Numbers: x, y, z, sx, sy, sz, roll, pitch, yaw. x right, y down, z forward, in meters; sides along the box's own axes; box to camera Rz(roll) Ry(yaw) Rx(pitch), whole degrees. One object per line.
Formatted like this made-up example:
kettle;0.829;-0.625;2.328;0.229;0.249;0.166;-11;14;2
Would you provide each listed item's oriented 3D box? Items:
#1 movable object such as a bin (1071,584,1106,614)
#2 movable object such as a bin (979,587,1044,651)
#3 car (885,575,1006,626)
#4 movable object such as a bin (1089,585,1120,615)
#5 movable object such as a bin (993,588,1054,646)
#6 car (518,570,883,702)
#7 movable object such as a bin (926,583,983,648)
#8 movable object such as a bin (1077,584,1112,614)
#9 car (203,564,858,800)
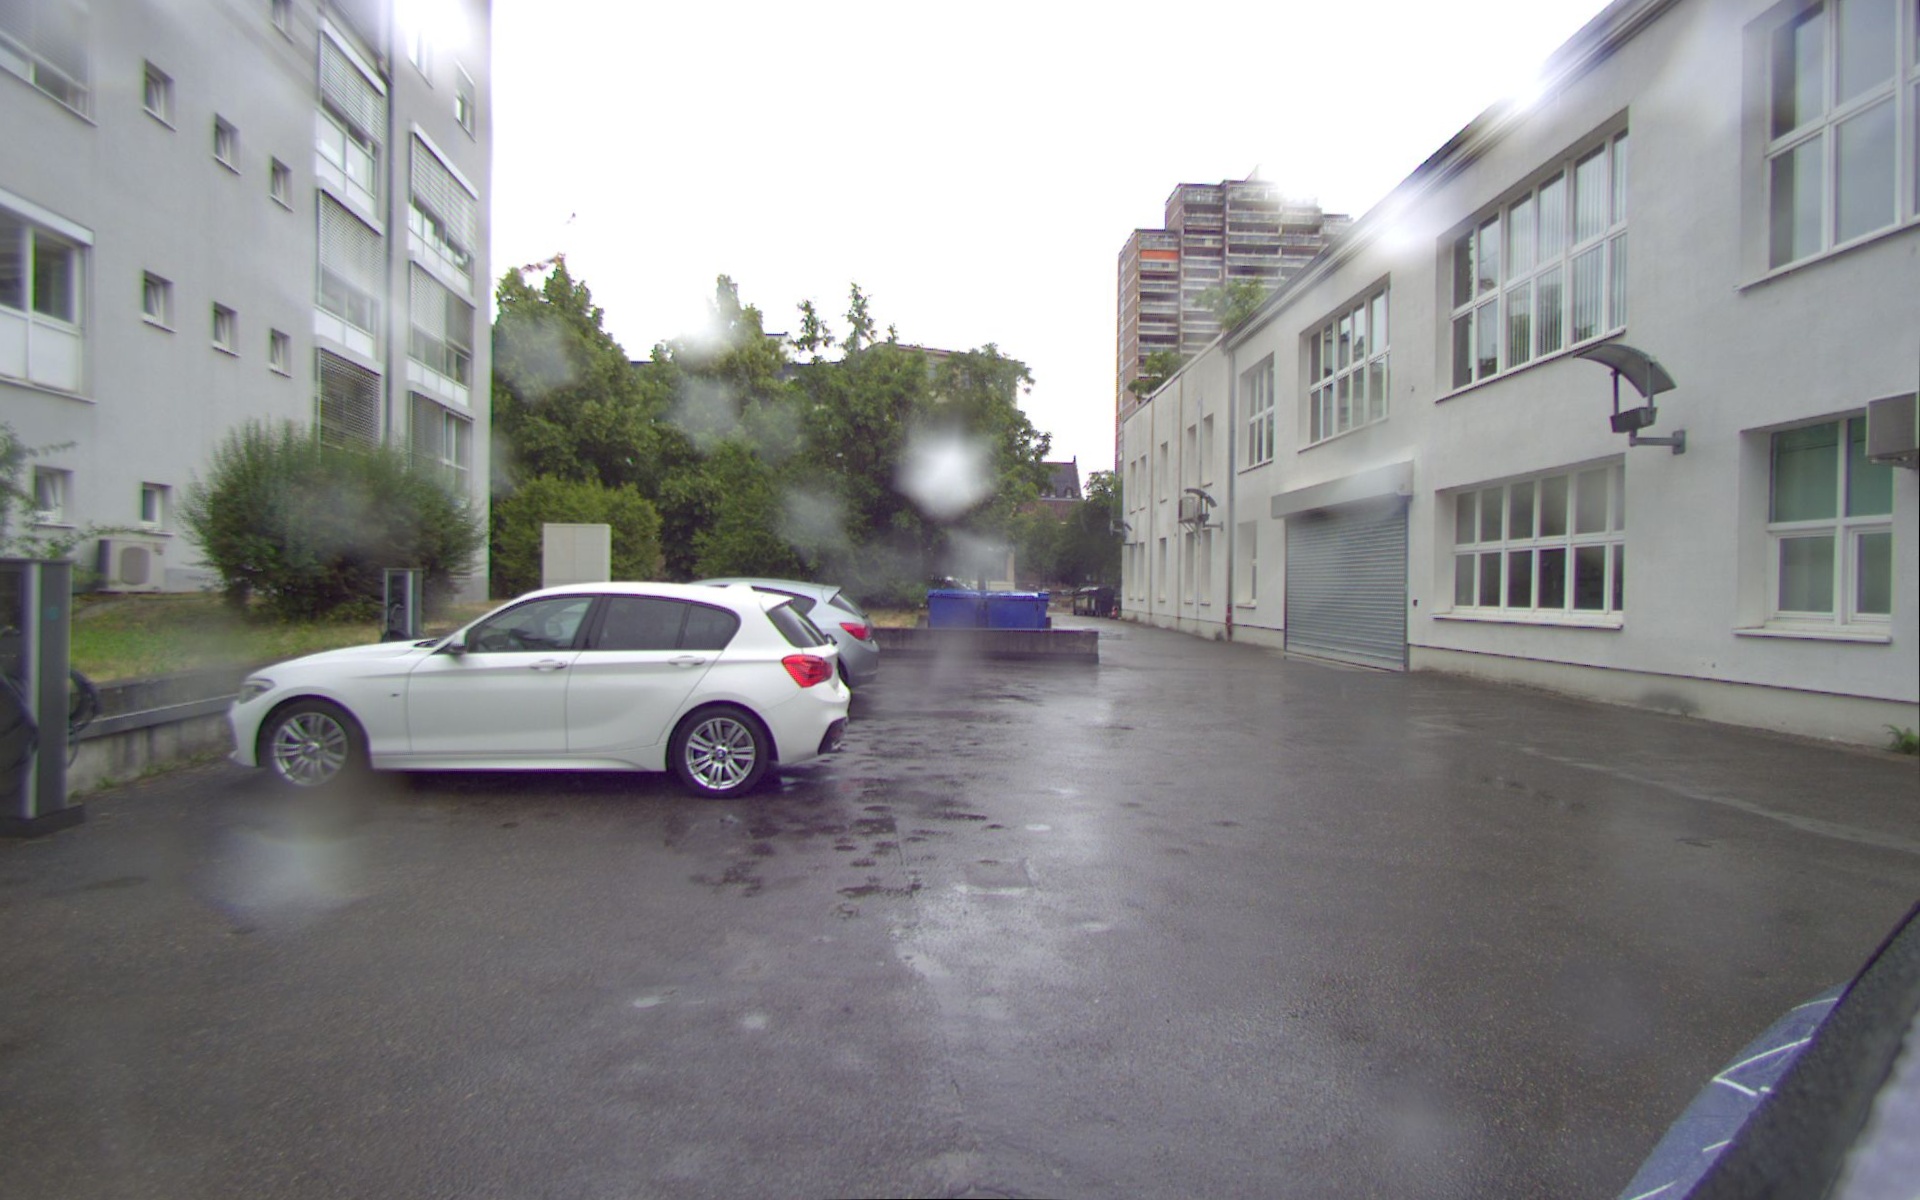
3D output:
movable object such as a bin;6.584;-0.045;51.951;1.462;1.467;1.315;0;-1;-6
movable object such as a bin;1.136;0.431;22.922;1.288;1.375;1.905;-1;-1;-2
car;-0.564;0.051;39.723;4.609;1.906;2.122;-1;-2;1
movable object such as a bin;6.989;0.003;49.033;1.164;1.392;1.315;0;-1;-6
movable object such as a bin;1.522;0.417;24.846;1.288;1.375;1.905;-1;-1;-2
car;-3.072;0.422;12.736;4.137;1.508;2.002;1;0;-5
movable object such as a bin;-0.160;0.351;22.892;1.209;1.375;1.971;-1;-1;-2
movable object such as a bin;6.723;-0.039;50.607;1.462;1.467;1.315;0;-1;-6
car;-2.866;0.538;7.646;4.137;1.508;2.002;1;0;-5
